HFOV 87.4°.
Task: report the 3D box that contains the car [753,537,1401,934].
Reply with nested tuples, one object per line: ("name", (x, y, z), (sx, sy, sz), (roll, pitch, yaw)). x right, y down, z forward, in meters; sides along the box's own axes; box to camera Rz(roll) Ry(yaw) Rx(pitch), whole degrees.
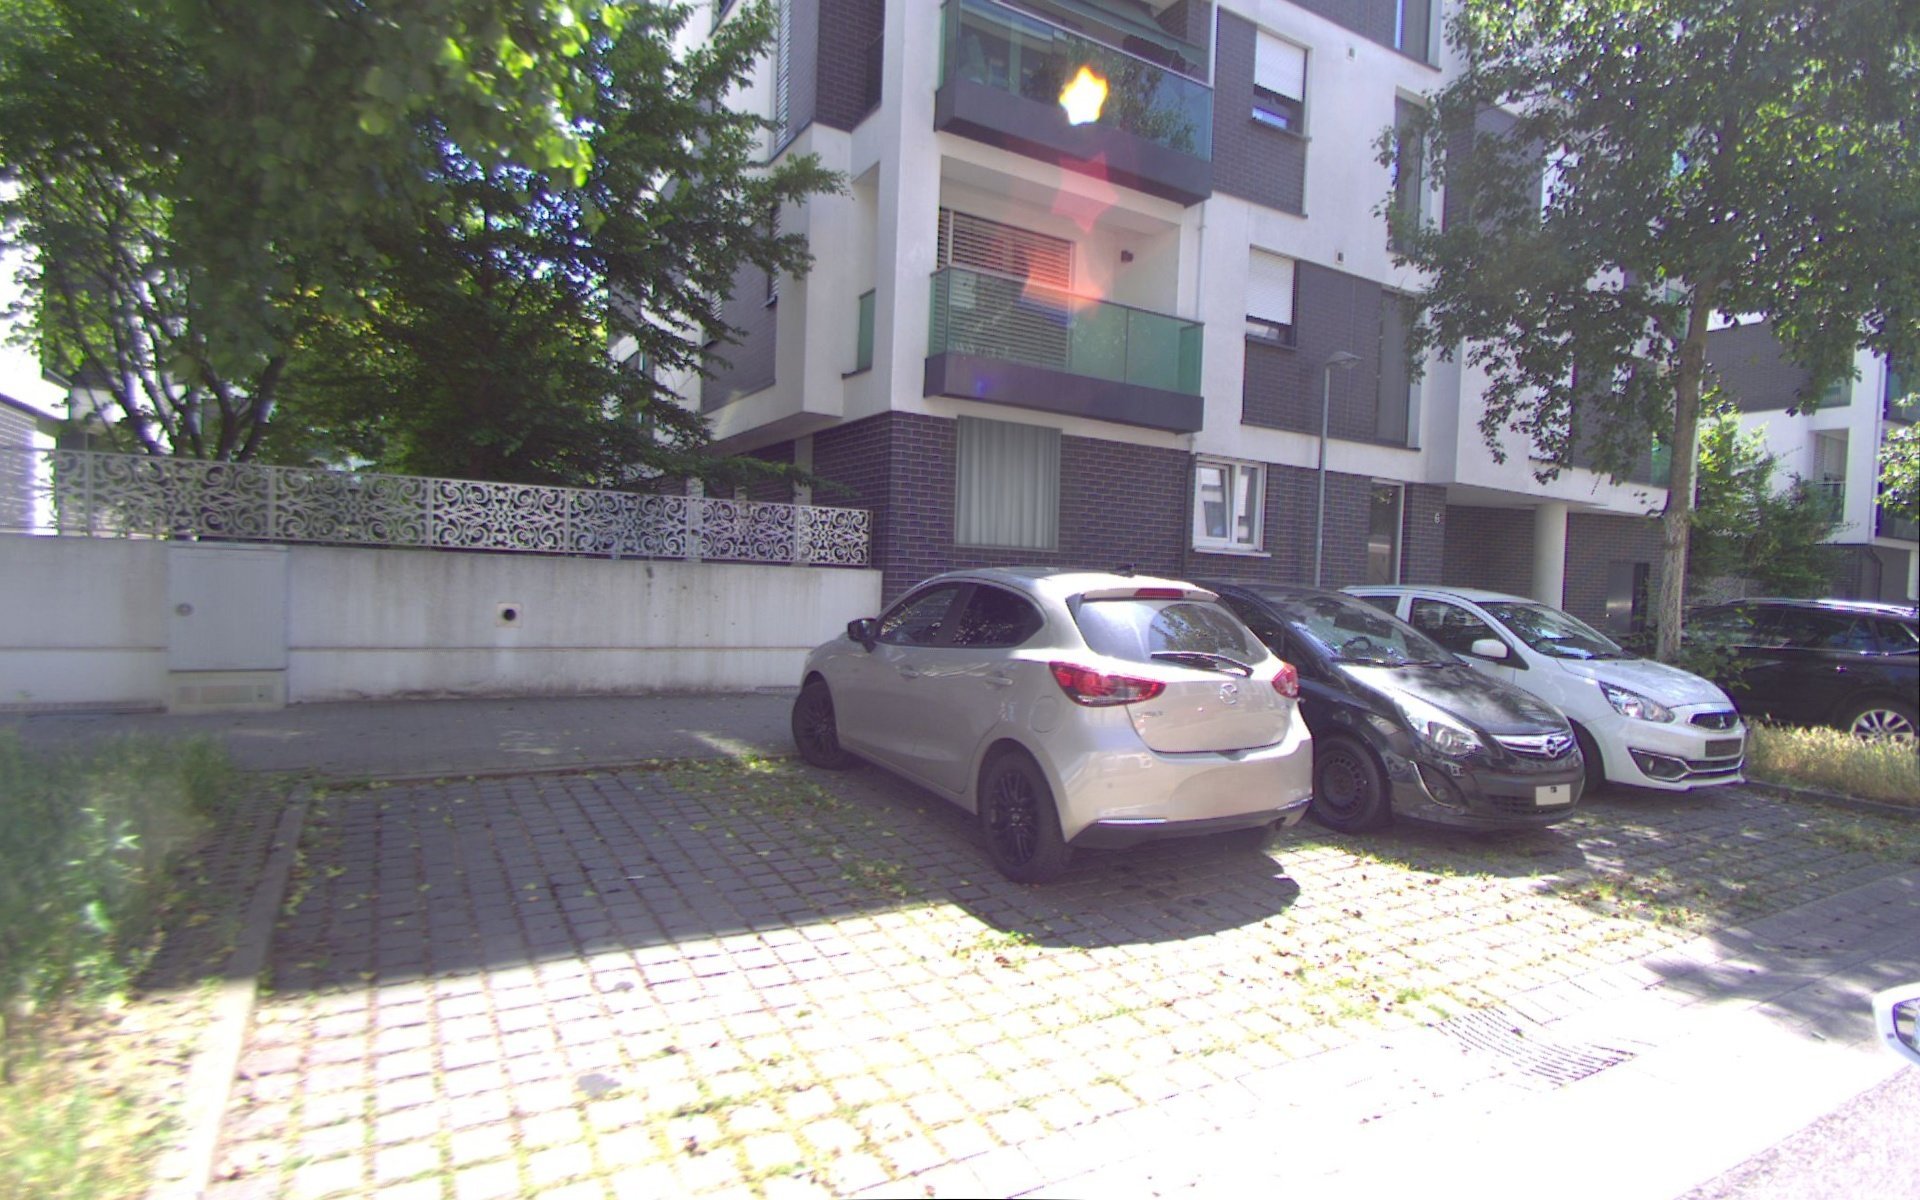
("car", (0.305, 0.474, 6.428), (1.902, 1.538, 4.230), (2, 4, -30))

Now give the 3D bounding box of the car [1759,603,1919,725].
("car", (13.388, 0.931, 13.333), (1.757, 1.465, 3.949), (2, 3, -34))

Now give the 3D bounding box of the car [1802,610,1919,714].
("car", (15.422, 1.035, 14.942), (1.874, 1.441, 3.968), (1, 3, -29))

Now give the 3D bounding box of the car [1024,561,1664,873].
("car", (2.435, 0.567, 7.568), (1.772, 1.496, 4.295), (1, 3, -30))

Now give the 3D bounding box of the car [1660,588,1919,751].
("car", (11.191, 0.825, 12.147), (1.894, 1.673, 3.969), (2, 3, -28))

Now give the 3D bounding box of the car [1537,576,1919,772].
("car", (8.935, 0.685, 11.072), (1.910, 1.651, 3.967), (2, 3, -30))

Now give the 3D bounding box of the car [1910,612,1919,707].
("car", (19.370, 1.124, 17.069), (1.978, 1.733, 4.336), (1, 0, -32))

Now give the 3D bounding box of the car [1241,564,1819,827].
("car", (4.631, 0.596, 8.825), (1.861, 1.613, 3.968), (1, 3, -29))
